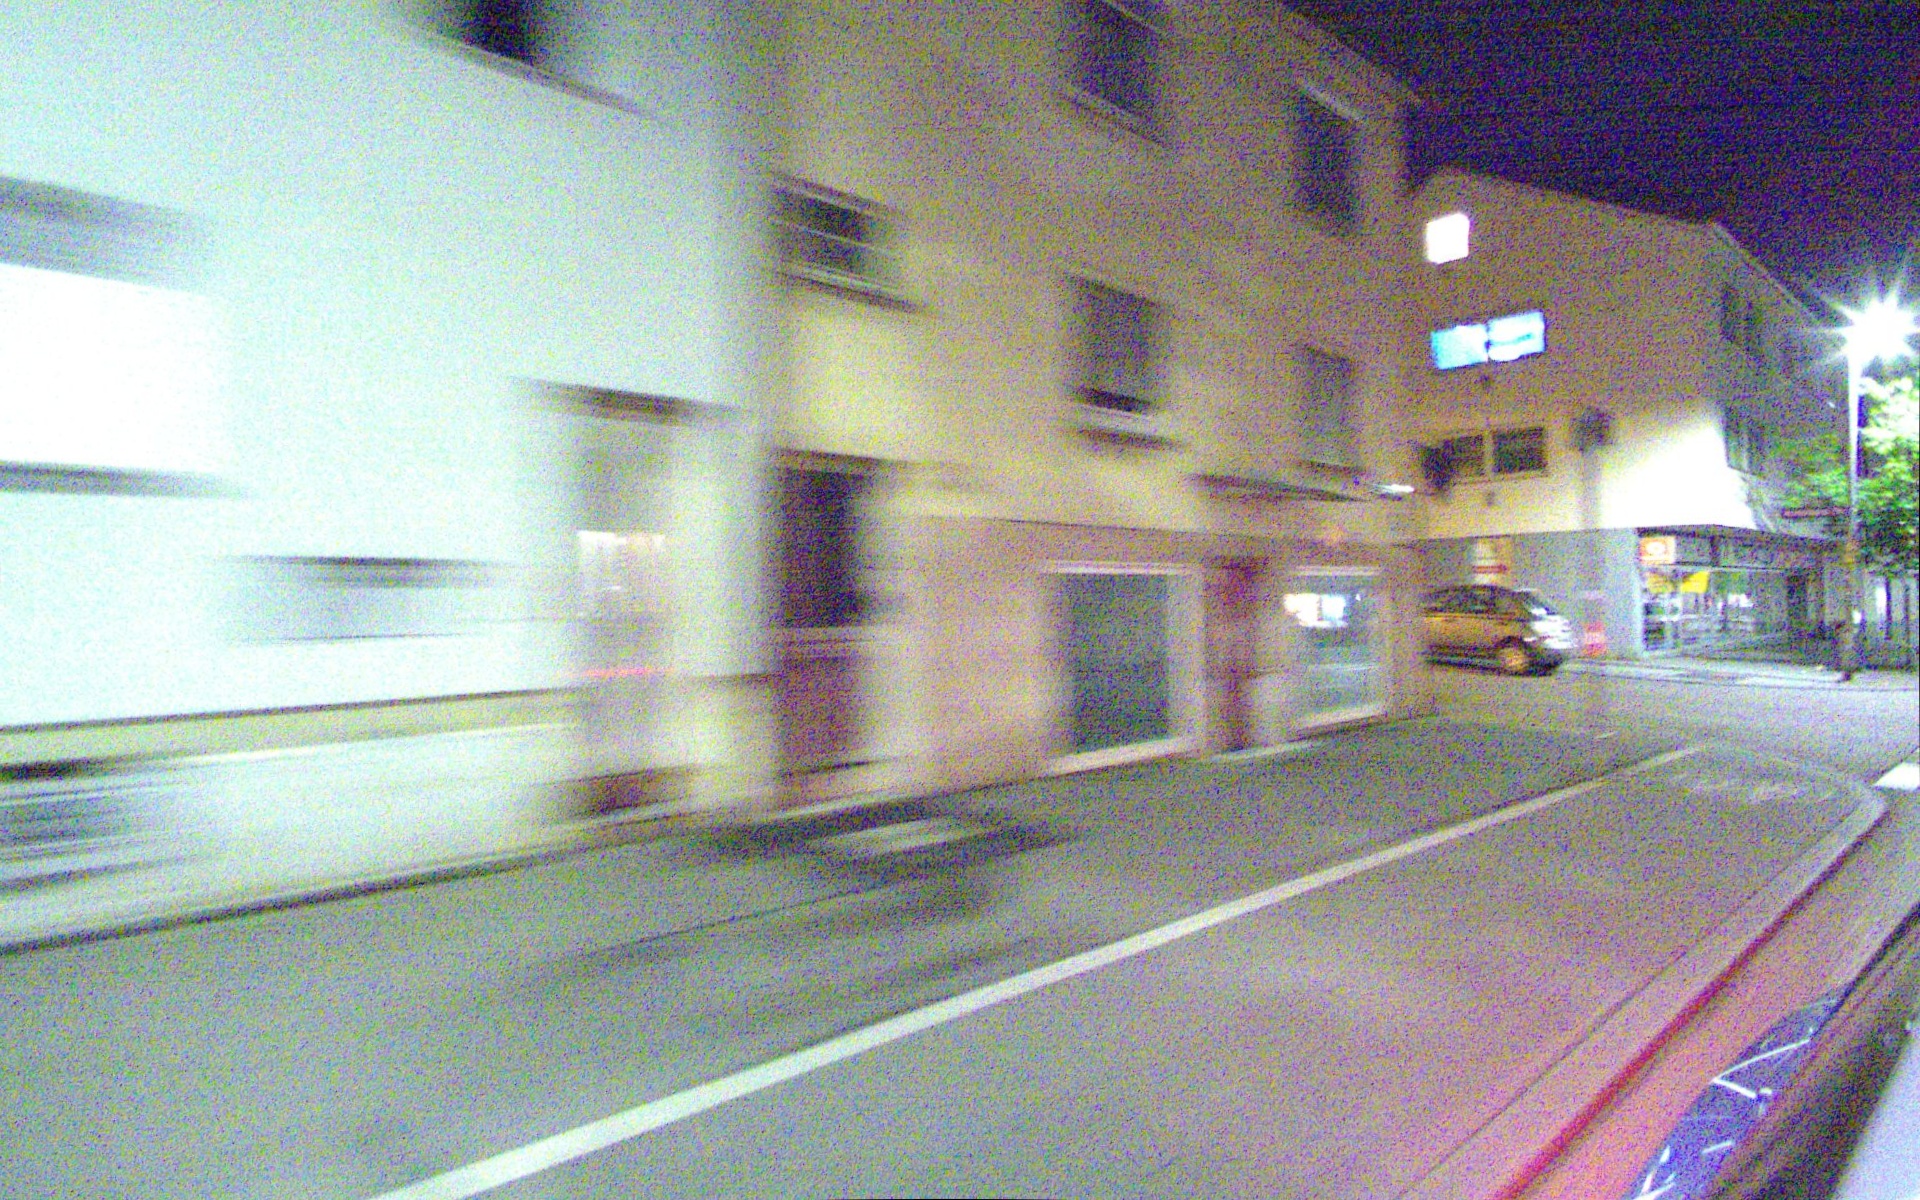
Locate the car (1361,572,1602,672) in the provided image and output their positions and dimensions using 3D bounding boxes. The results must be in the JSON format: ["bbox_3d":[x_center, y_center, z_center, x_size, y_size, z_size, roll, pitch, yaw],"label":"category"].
[{"bbox_3d":[9.539,0.316,18.675,1.789,1.543,3.513,0,3,-41],"label":"car"}]
